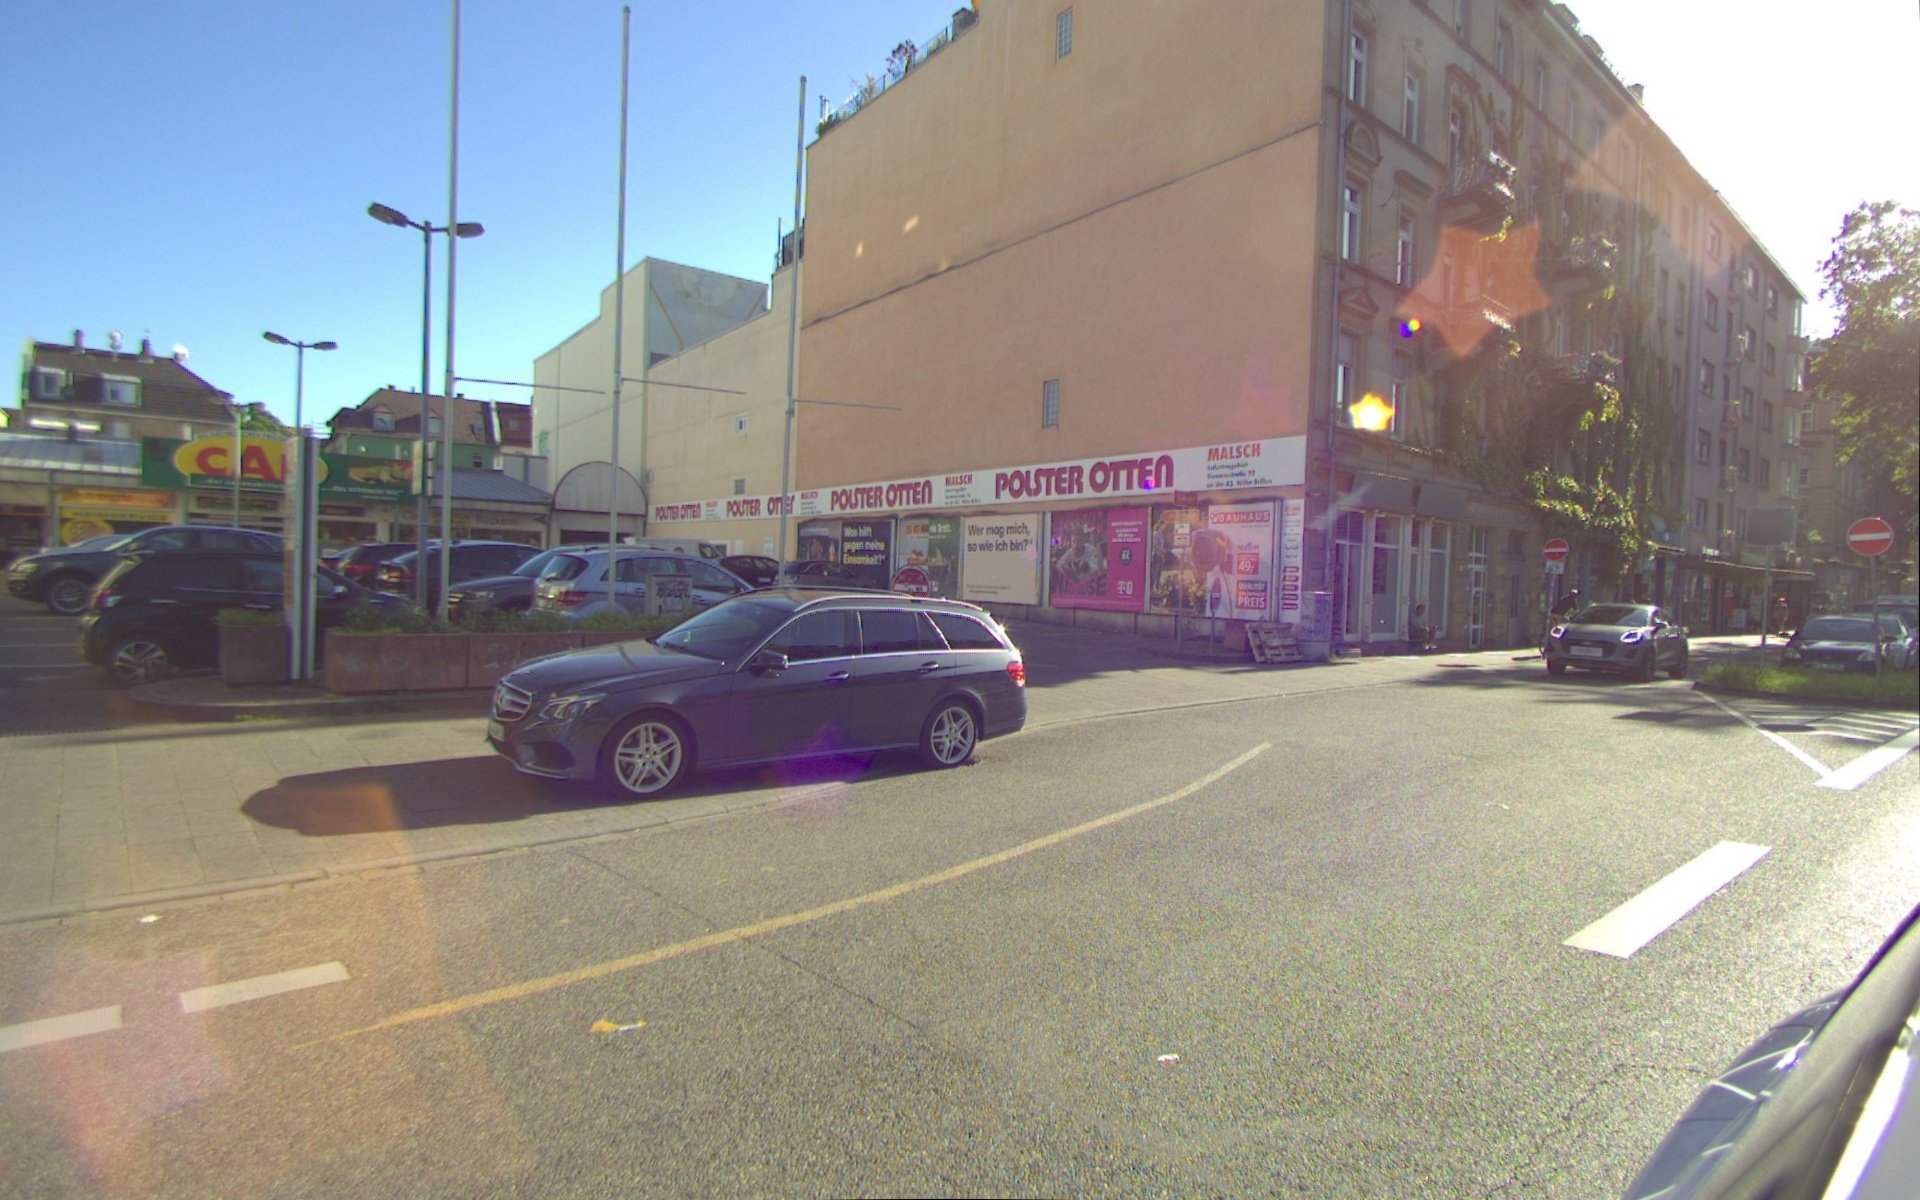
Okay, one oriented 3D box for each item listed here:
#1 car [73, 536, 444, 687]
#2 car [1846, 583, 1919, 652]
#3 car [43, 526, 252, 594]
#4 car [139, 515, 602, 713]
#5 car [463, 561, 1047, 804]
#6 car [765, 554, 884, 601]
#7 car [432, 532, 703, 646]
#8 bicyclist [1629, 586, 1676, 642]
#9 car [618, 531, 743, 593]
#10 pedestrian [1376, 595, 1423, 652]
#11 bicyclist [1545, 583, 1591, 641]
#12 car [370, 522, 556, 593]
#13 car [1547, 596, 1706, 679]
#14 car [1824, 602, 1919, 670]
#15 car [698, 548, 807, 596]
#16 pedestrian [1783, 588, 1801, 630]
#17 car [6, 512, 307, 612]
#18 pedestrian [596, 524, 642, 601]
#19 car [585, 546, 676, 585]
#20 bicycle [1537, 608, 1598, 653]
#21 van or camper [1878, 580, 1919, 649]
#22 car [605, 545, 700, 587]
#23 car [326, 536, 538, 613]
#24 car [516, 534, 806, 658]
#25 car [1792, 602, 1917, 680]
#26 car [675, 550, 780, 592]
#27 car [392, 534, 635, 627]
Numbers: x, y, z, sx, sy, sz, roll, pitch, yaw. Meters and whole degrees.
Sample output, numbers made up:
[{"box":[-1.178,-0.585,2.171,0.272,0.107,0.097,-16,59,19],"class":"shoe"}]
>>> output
[{"box":[-8.063,0.090,11.793,3.339,1.504,1.559,0,2,-45],"class":"car"},{"box":[26.440,0.477,28.325,3.929,1.785,1.868,0,2,-40],"class":"car"},{"box":[-20.070,-0.961,25.124,3.930,1.538,1.725,1,2,-41],"class":"car"},{"box":[-5.915,0.121,10.450,3.839,1.665,1.651,1,0,-45],"class":"car"},{"box":[-1.572,0.530,8.833,4.650,1.505,1.838,0,4,-40],"class":"car"},{"box":[-4.478,-0.763,33.639,3.579,1.481,1.680,-1,3,-39],"class":"car"},{"box":[-6.585,-0.200,17.215,3.933,1.714,1.747,0,2,-44],"class":"car"},{"box":[19.414,0.388,28.361,1.161,1.463,0.678,1,5,-41],"class":"bicyclist"},{"box":[-11.906,-1.600,43.217,4.790,2.442,1.711,1,2,-35],"class":"car"},{"box":[10.291,0.539,23.689,0.701,1.276,0.717,1,3,-40],"class":"pedestrian"},{"box":[16.021,0.309,26.672,0.934,1.480,0.746,0,1,-39],"class":"bicyclist"},{"box":[-12.430,-1.035,25.430,3.870,1.601,1.659,0,2,-42],"class":"car"},{"box":[14.029,0.720,21.203,4.304,1.547,1.700,0,1,-41],"class":"car"},{"box":[22.656,0.815,24.836,3.932,1.537,1.740,0,-1,-43],"class":"car"},{"box":[-7.620,-1.043,37.292,3.575,1.690,1.682,-1,2,-35],"class":"car"},{"box":[37.816,0.403,46.000,0.507,1.856,0.469,1,1,-41],"class":"pedestrian"},{"box":[-15.061,-0.665,19.191,4.305,1.687,1.758,0,2,-41],"class":"car"},{"box":[-9.258,-1.019,27.482,0.907,2.039,0.818,1,1,-40],"class":"pedestrian"},{"box":[-16.207,-1.672,49.804,3.967,1.758,1.664,1,2,-30],"class":"car"},{"box":[16.037,0.788,26.696,1.918,1.116,0.758,1,1,-39],"class":"bicycle"},{"box":[30.557,0.462,31.864,5.006,2.038,1.887,0,2,-42],"class":"van or camper"},{"box":[-14.488,-1.579,47.719,3.967,1.823,1.664,1,2,-30],"class":"car"},{"box":[-11.522,-0.540,22.233,3.870,1.563,1.544,0,2,-42],"class":"car"},{"box":[-4.508,-0.090,15.618,3.934,1.665,1.746,0,2,-45],"class":"car"},{"box":[19.407,0.822,21.906,3.932,1.537,1.642,0,-1,-43],"class":"car"},{"box":[-8.969,-1.118,39.121,3.575,1.552,1.682,-1,2,-35],"class":"car"},{"box":[-8.288,-0.356,18.992,3.871,1.563,1.544,0,2,-43],"class":"car"}]
